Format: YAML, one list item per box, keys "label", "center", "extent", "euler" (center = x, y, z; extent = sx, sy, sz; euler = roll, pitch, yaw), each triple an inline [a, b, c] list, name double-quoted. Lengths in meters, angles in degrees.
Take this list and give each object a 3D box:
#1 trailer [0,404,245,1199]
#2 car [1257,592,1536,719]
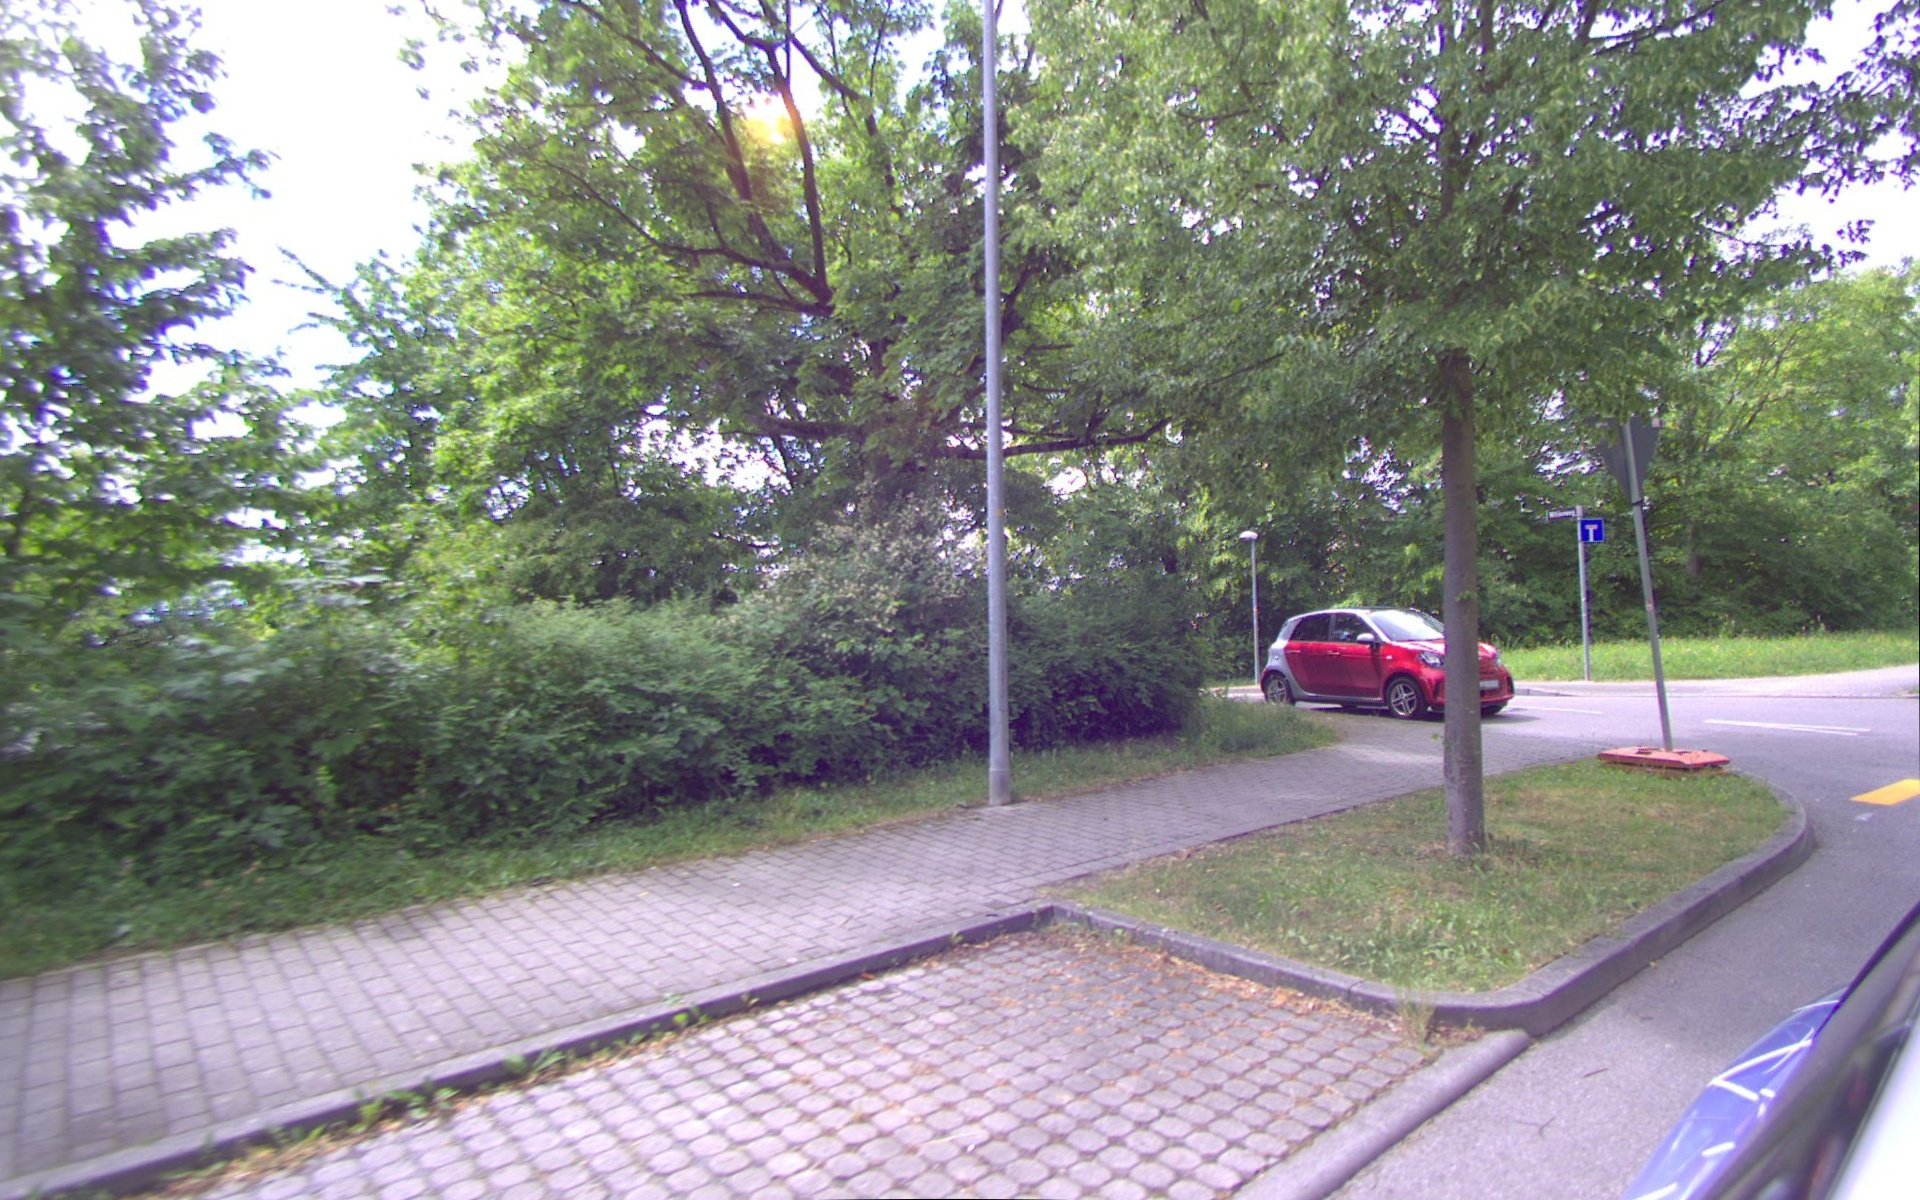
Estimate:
- label: "trailer"
  center: [-3.028, 0.599, 0.300]
  extent: [4.413, 1.599, 1.812]
  euler: [0, 0, -43]
- label: "car"
  center: [6.087, 0.724, 14.531]
  extent: [1.618, 1.537, 3.494]
  euler: [-2, 0, -23]
